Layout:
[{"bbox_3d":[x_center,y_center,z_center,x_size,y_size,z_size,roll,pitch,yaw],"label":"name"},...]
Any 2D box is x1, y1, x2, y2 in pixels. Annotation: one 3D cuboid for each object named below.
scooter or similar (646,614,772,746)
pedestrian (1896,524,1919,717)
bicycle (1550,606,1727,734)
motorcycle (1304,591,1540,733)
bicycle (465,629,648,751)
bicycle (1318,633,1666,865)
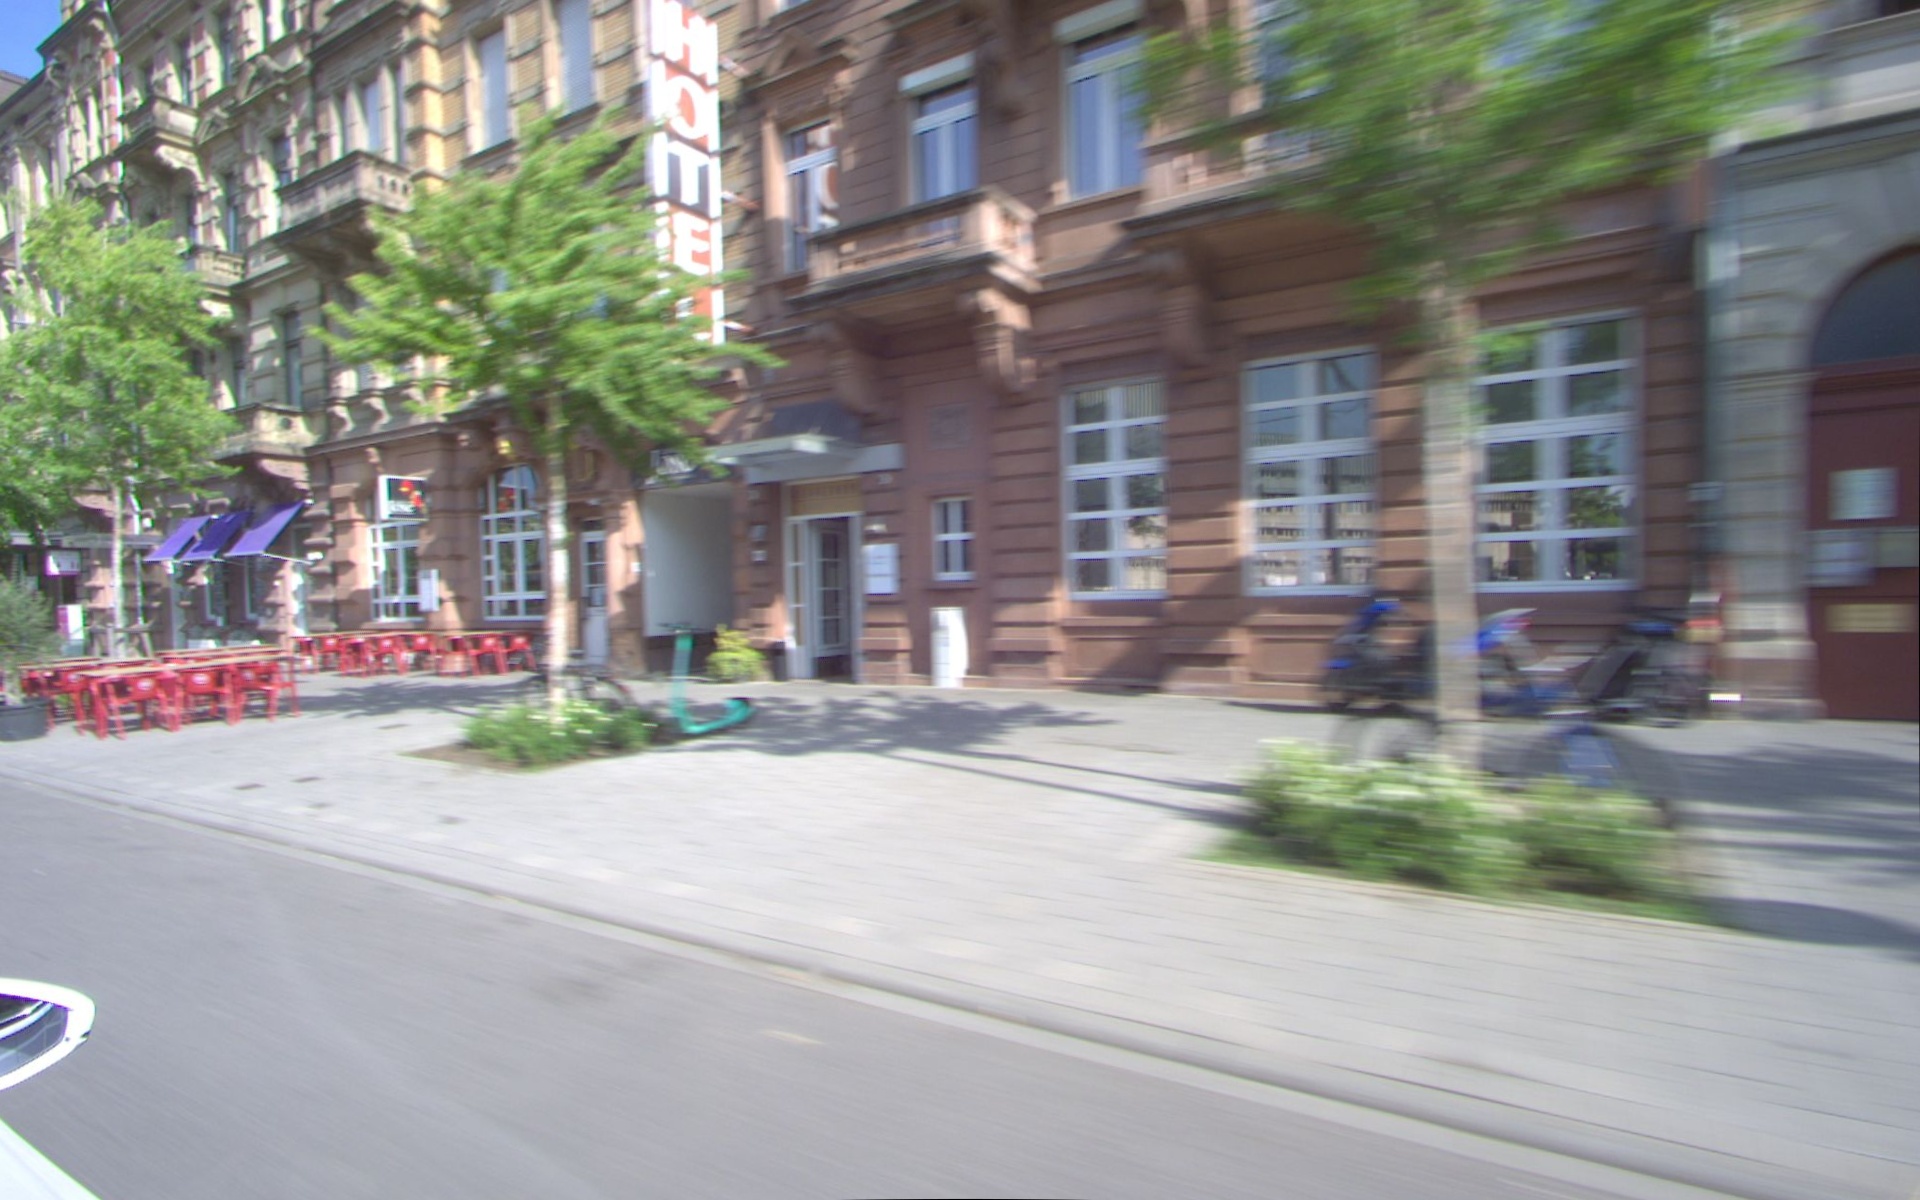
[{"bbox_3d":[-2.492,0.766,10.035,0.335,1.173,1.251,0,3,36],"label":"scooter or similar"},{"bbox_3d":[8.653,0.175,8.735,0.560,1.680,0.484,0,1,20],"label":"pedestrian"},{"bbox_3d":[5.858,0.579,8.677,1.239,1.032,0.395,-1,1,38],"label":"bicycle"},{"bbox_3d":[4.198,0.538,9.174,1.917,1.192,0.462,-1,3,33],"label":"motorcycle"},{"bbox_3d":[-4.108,0.876,10.162,1.895,1.137,0.595,-1,1,26],"label":"bicycle"},{"bbox_3d":[2.980,0.768,5.758,0.501,1.075,1.696,-4,3,-43],"label":"bicycle"}]
